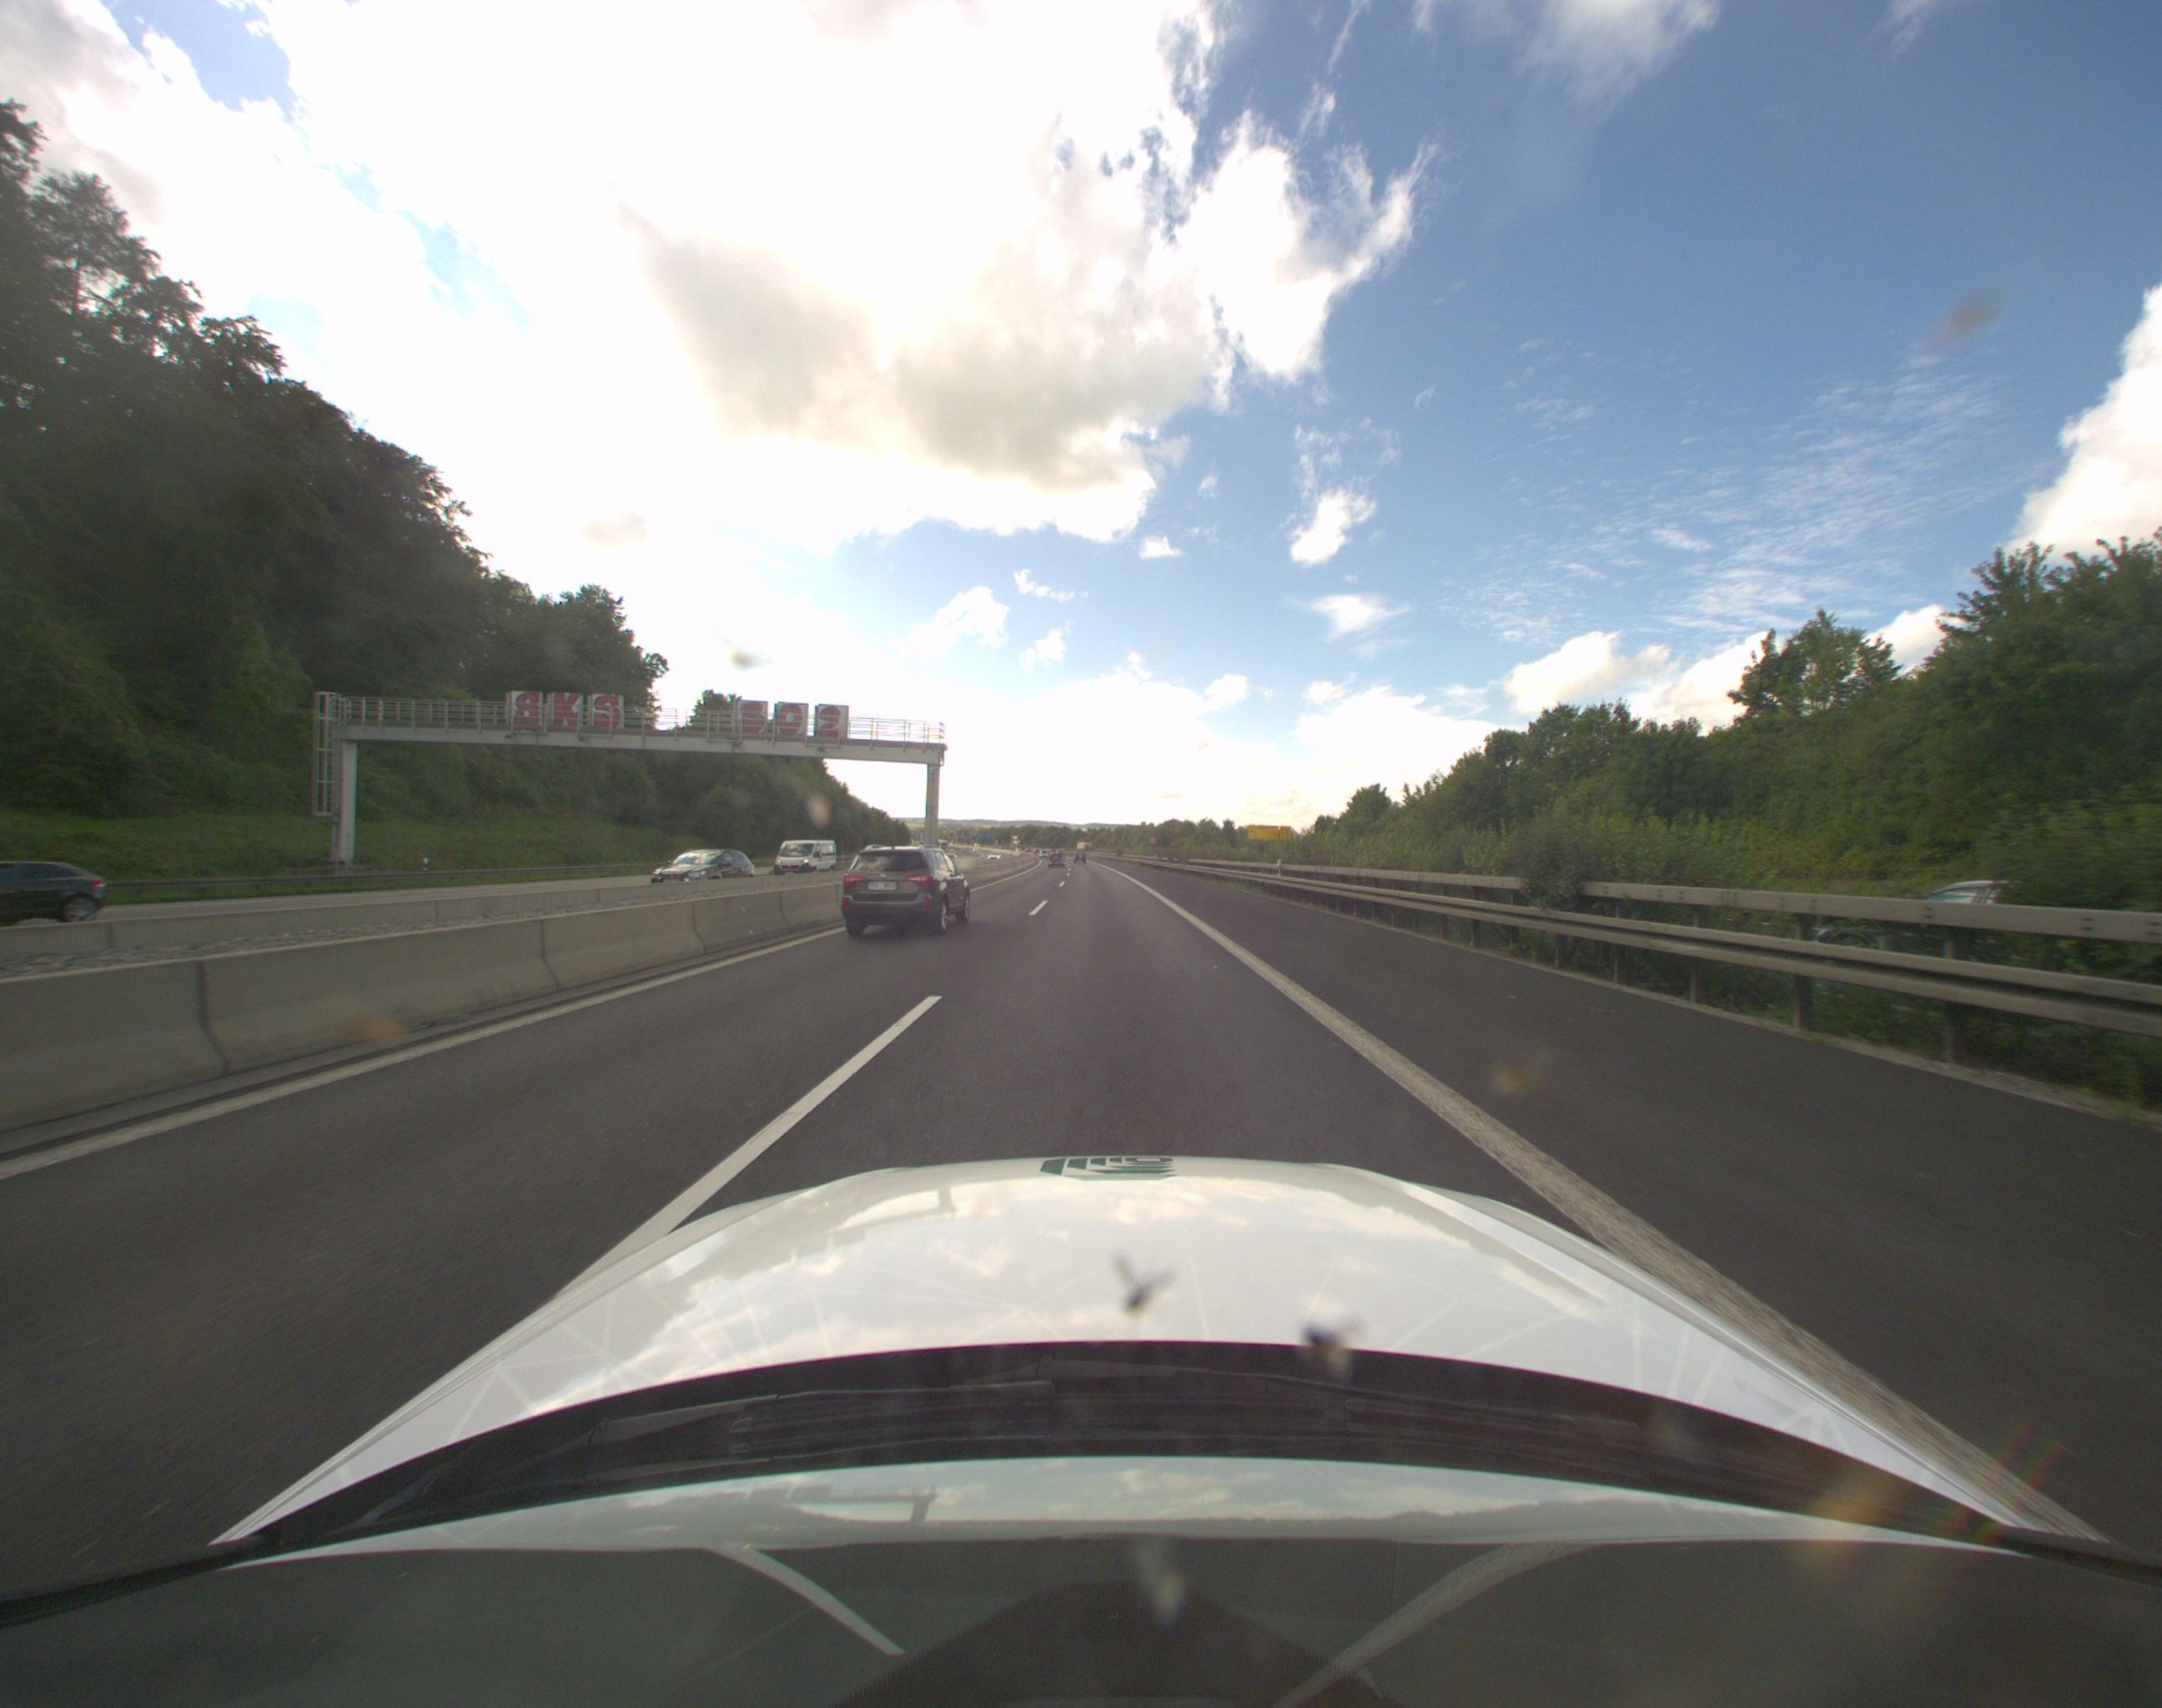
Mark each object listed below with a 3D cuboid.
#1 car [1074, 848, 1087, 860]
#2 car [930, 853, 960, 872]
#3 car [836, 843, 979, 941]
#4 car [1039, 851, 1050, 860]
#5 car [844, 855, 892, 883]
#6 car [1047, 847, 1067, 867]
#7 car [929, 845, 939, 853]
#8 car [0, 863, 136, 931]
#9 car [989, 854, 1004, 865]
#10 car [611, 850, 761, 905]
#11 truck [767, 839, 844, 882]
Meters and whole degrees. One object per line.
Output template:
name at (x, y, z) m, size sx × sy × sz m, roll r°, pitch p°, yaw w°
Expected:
car at (-0.121, 0.001, 113.452) m, size 1.583 × 1.597 × 4.092 m, roll 0°, pitch 0°, yaw -3°
car at (-12.069, 0.720, 72.394) m, size 1.987 × 1.641 × 4.000 m, roll 0°, pitch 0°, yaw 1°
car at (-3.425, 0.677, 17.137) m, size 1.811 × 1.736 × 5.187 m, roll 0°, pitch 0°, yaw 1°
car at (-7.458, 0.264, 166.196) m, size 1.990 × 1.684 × 3.993 m, roll 0°, pitch -1°, yaw -5°
car at (-11.705, 0.785, 44.928) m, size 1.559 × 1.450 × 3.889 m, roll 0°, pitch 0°, yaw 1°
car at (-2.577, 0.283, 88.512) m, size 2.024 × 2.151 × 3.999 m, roll 0°, pitch 1°, yaw -1°
car at (-38.431, -1.220, 213.395) m, size 1.988 × 2.013 × 3.997 m, roll 0°, pitch 0°, yaw -2°
car at (-22.265, 0.870, 16.310) m, size 1.817 × 1.311 × 4.185 m, roll 0°, pitch 0°, yaw -2°
car at (-12.759, 0.868, 123.289) m, size 1.759 × 1.581 × 4.931 m, roll 0°, pitch 0°, yaw 0°
car at (-12.174, 0.660, 25.574) m, size 1.986 × 1.536 × 5.287 m, roll 0°, pitch 0°, yaw 2°
truck at (-15.090, 0.342, 44.944) m, size 2.175 × 2.226 × 5.573 m, roll 0°, pitch 0°, yaw 2°
